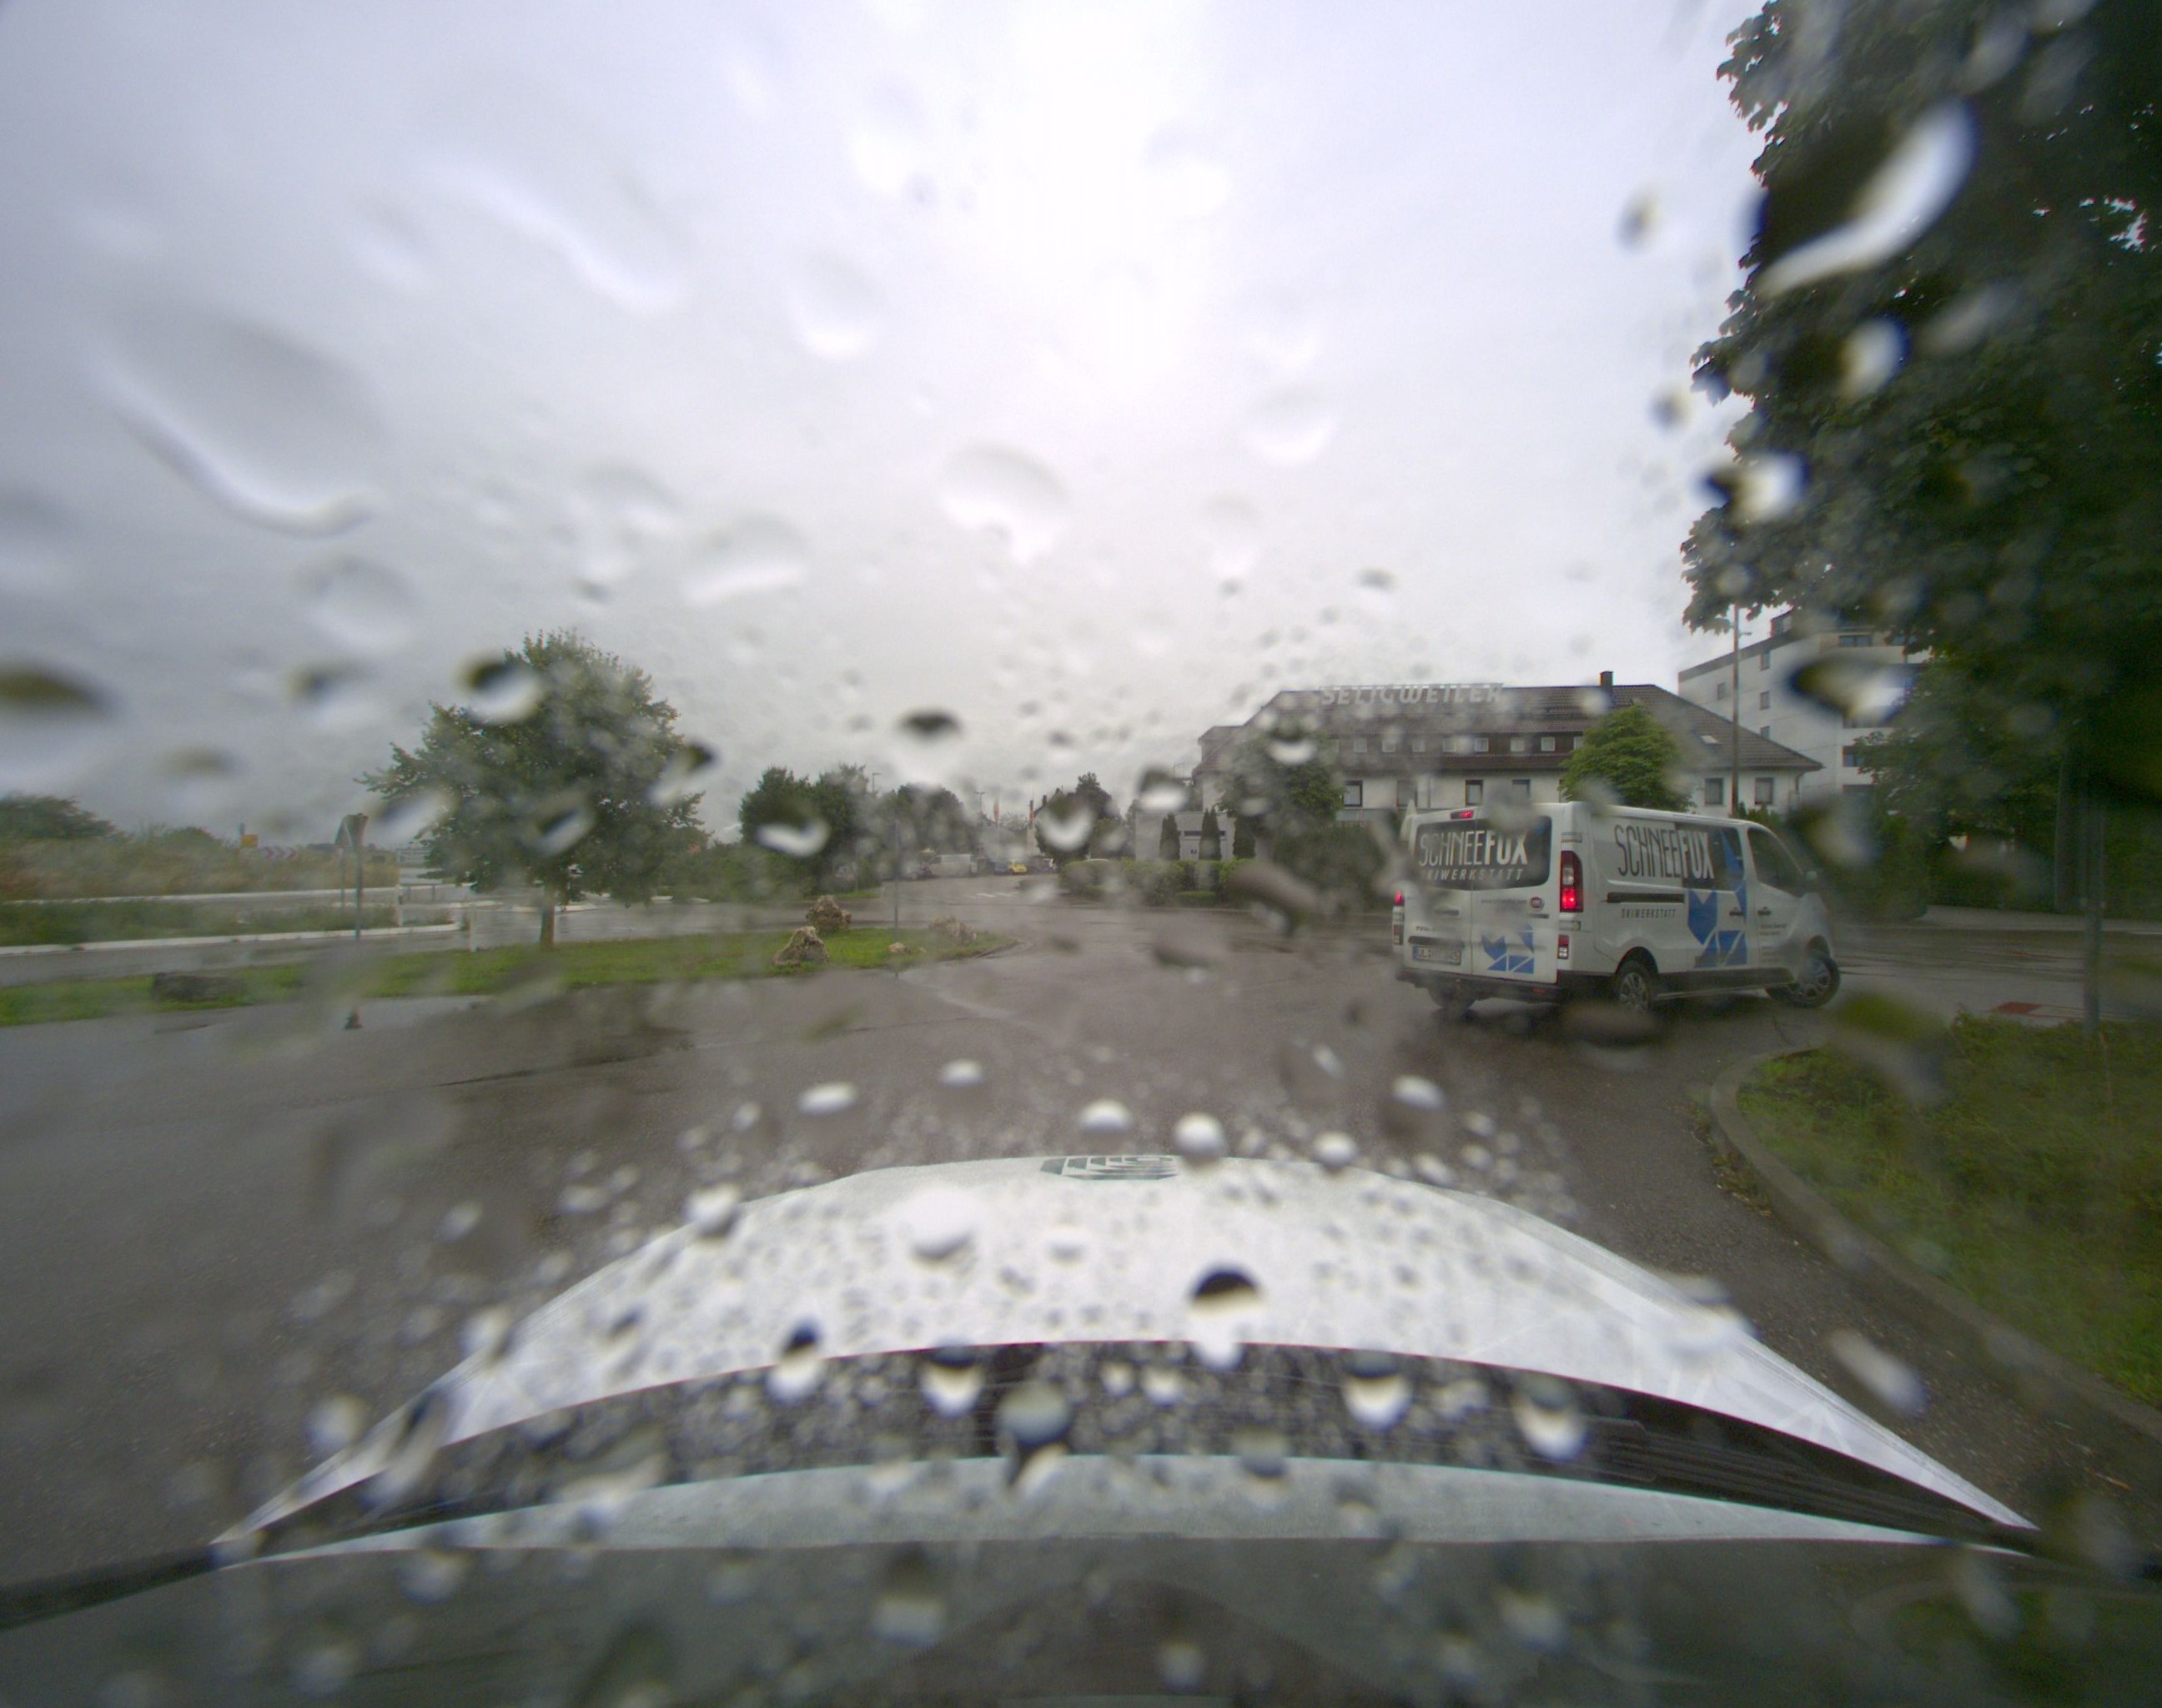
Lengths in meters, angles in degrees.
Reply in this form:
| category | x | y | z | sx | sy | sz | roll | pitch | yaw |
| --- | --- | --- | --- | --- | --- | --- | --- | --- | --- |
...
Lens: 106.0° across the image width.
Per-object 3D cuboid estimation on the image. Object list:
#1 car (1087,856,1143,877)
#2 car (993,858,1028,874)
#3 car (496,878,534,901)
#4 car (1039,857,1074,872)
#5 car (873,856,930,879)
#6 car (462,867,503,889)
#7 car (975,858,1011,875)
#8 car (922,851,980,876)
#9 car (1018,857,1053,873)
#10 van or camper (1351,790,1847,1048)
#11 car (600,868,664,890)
| category | x | y | z | sx | sy | sz | roll | pitch | yaw |
| --- | --- | --- | --- | --- | --- | --- | --- | --- | --- |
| car | 2.619 | 0.915 | 62.444 | 4.153 | 1.497 | 1.721 | -1 | 0 | 7 |
| car | -6.727 | 1.104 | 77.966 | 1.593 | 1.458 | 3.638 | -1 | 0 | -38 |
| car | -36.737 | 2.284 | 52.812 | 1.702 | 1.326 | 3.996 | -1 | 0 | -40 |
| car | -2.410 | 1.010 | 80.806 | 1.593 | 1.458 | 3.638 | -1 | 0 | -38 |
| car | -12.882 | 0.989 | 58.605 | 3.711 | 1.551 | 1.454 | -1 | 0 | 7 |
| car | -43.558 | 1.730 | 59.289 | 3.537 | 1.508 | 1.419 | -1 | 0 | 37 |
| car | -8.176 | 1.154 | 75.620 | 1.563 | 1.458 | 3.638 | -1 | 0 | -38 |
| car | -10.936 | 0.783 | 68.430 | 4.495 | 2.033 | 1.648 | -1 | 0 | 7 |
| car | -4.468 | 1.078 | 79.348 | 1.593 | 1.458 | 3.638 | -1 | 0 | -38 |
| van or camper | 5.461 | 0.550 | 8.405 | 5.212 | 1.945 | 2.174 | 2 | -1 | -30 |
| car | -37.803 | 2.103 | 68.718 | 1.726 | 1.758 | 4.394 | -2 | -1 | 39 |
